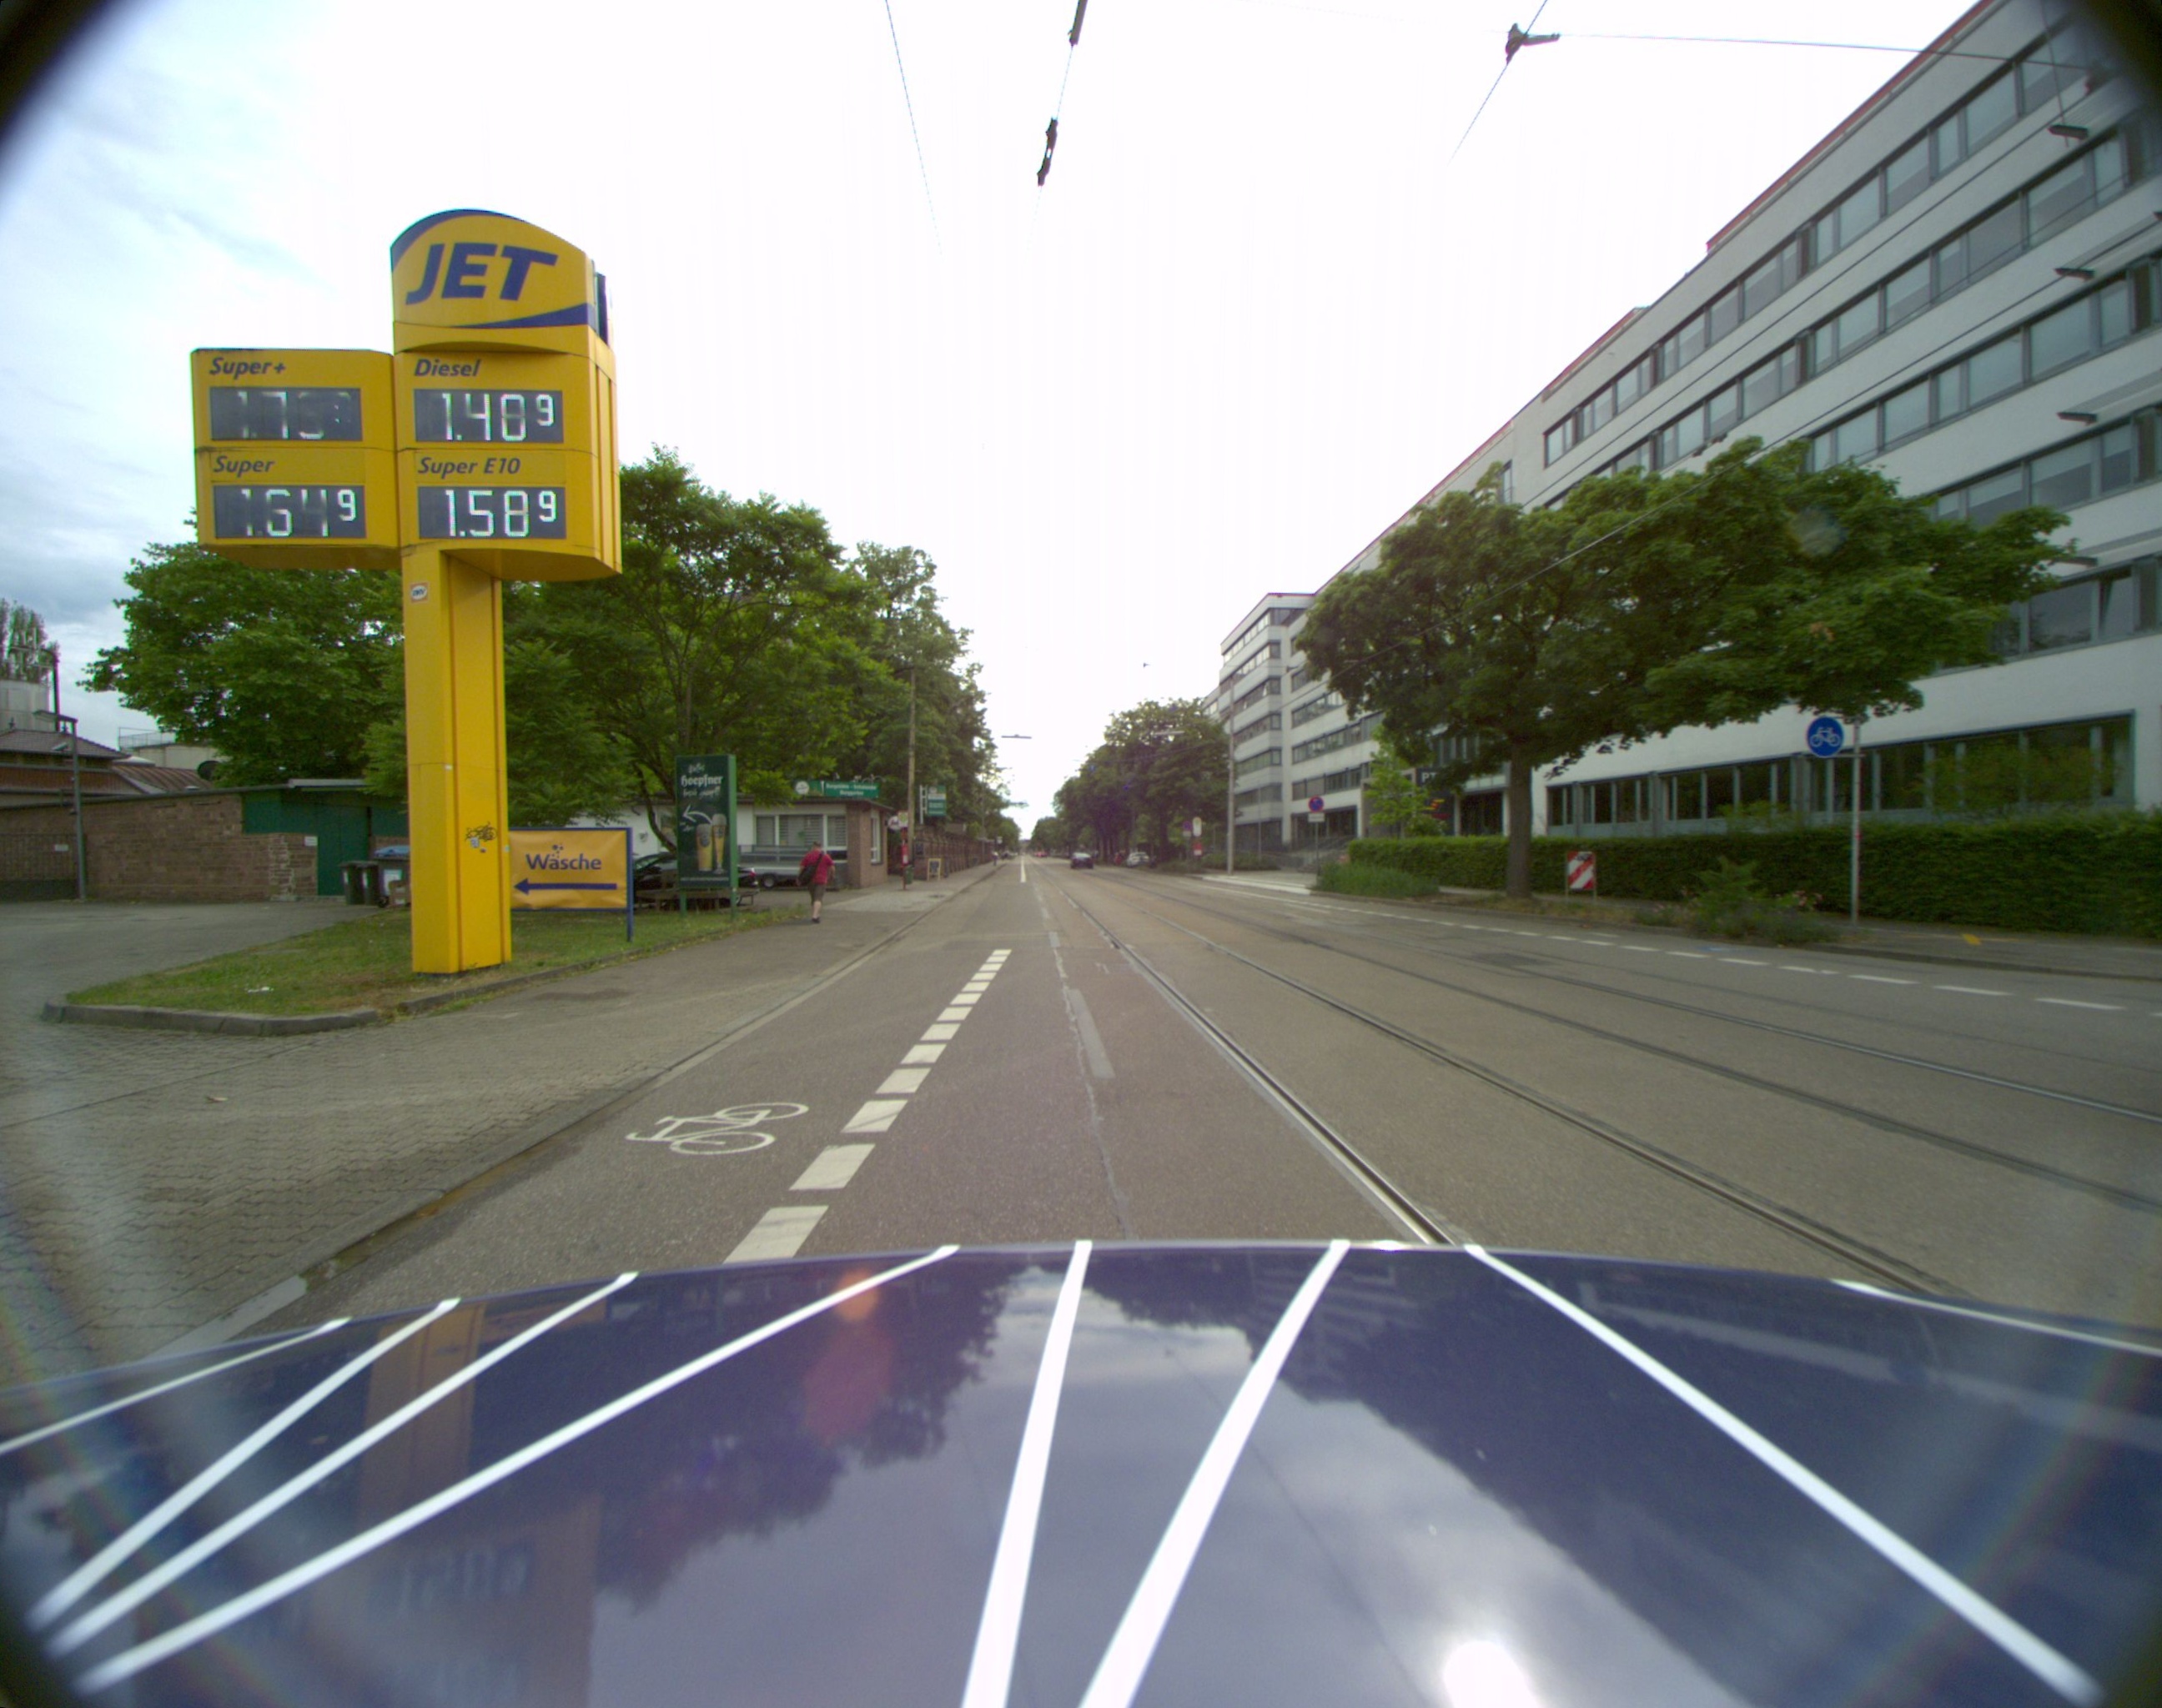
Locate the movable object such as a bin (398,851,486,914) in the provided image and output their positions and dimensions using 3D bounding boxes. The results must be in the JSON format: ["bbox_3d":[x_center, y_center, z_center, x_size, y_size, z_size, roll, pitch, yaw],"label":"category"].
[{"bbox_3d":[-14.317,0.618,17.043,1.118,1.312,1.162,-1,1,31],"label":"movable object such as a bin"}]

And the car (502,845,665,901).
[{"bbox_3d":[-16.436,0.596,25.284,3.998,1.657,1.999,-2,1,-3],"label":"car"}]

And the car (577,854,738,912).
[{"bbox_3d":[-11.105,0.699,20.322,1.998,1.281,3.999,-2,1,0],"label":"car"}]

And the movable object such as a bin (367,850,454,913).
[{"bbox_3d":[-15.468,0.615,17.545,1.118,1.351,1.162,-1,1,31],"label":"movable object such as a bin"}]

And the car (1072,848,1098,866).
[{"bbox_3d":[0.345,0.214,68.790,1.802,1.537,4.477,-2,1,-6],"label":"car"}]

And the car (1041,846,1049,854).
[{"bbox_3d":[-10.186,-1.111,217.282,1.998,2.002,3.999,-2,1,0],"label":"car"}]

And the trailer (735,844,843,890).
[{"bbox_3d":[-10.580,0.442,27.706,3.291,1.523,1.772,1,3,-3],"label":"trailer"}]

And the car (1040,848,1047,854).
[{"bbox_3d":[-12.080,-1.029,245.245,1.999,2.002,3.998,-2,1,-2],"label":"car"}]

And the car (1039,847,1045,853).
[{"bbox_3d":[-13.301,-1.295,256.798,1.999,2.002,3.998,-2,1,-2],"label":"car"}]

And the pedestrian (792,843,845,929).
[{"bbox_3d":[-5.524,0.649,15.976,0.871,1.738,0.848,1,2,-29],"label":"pedestrian"}]
